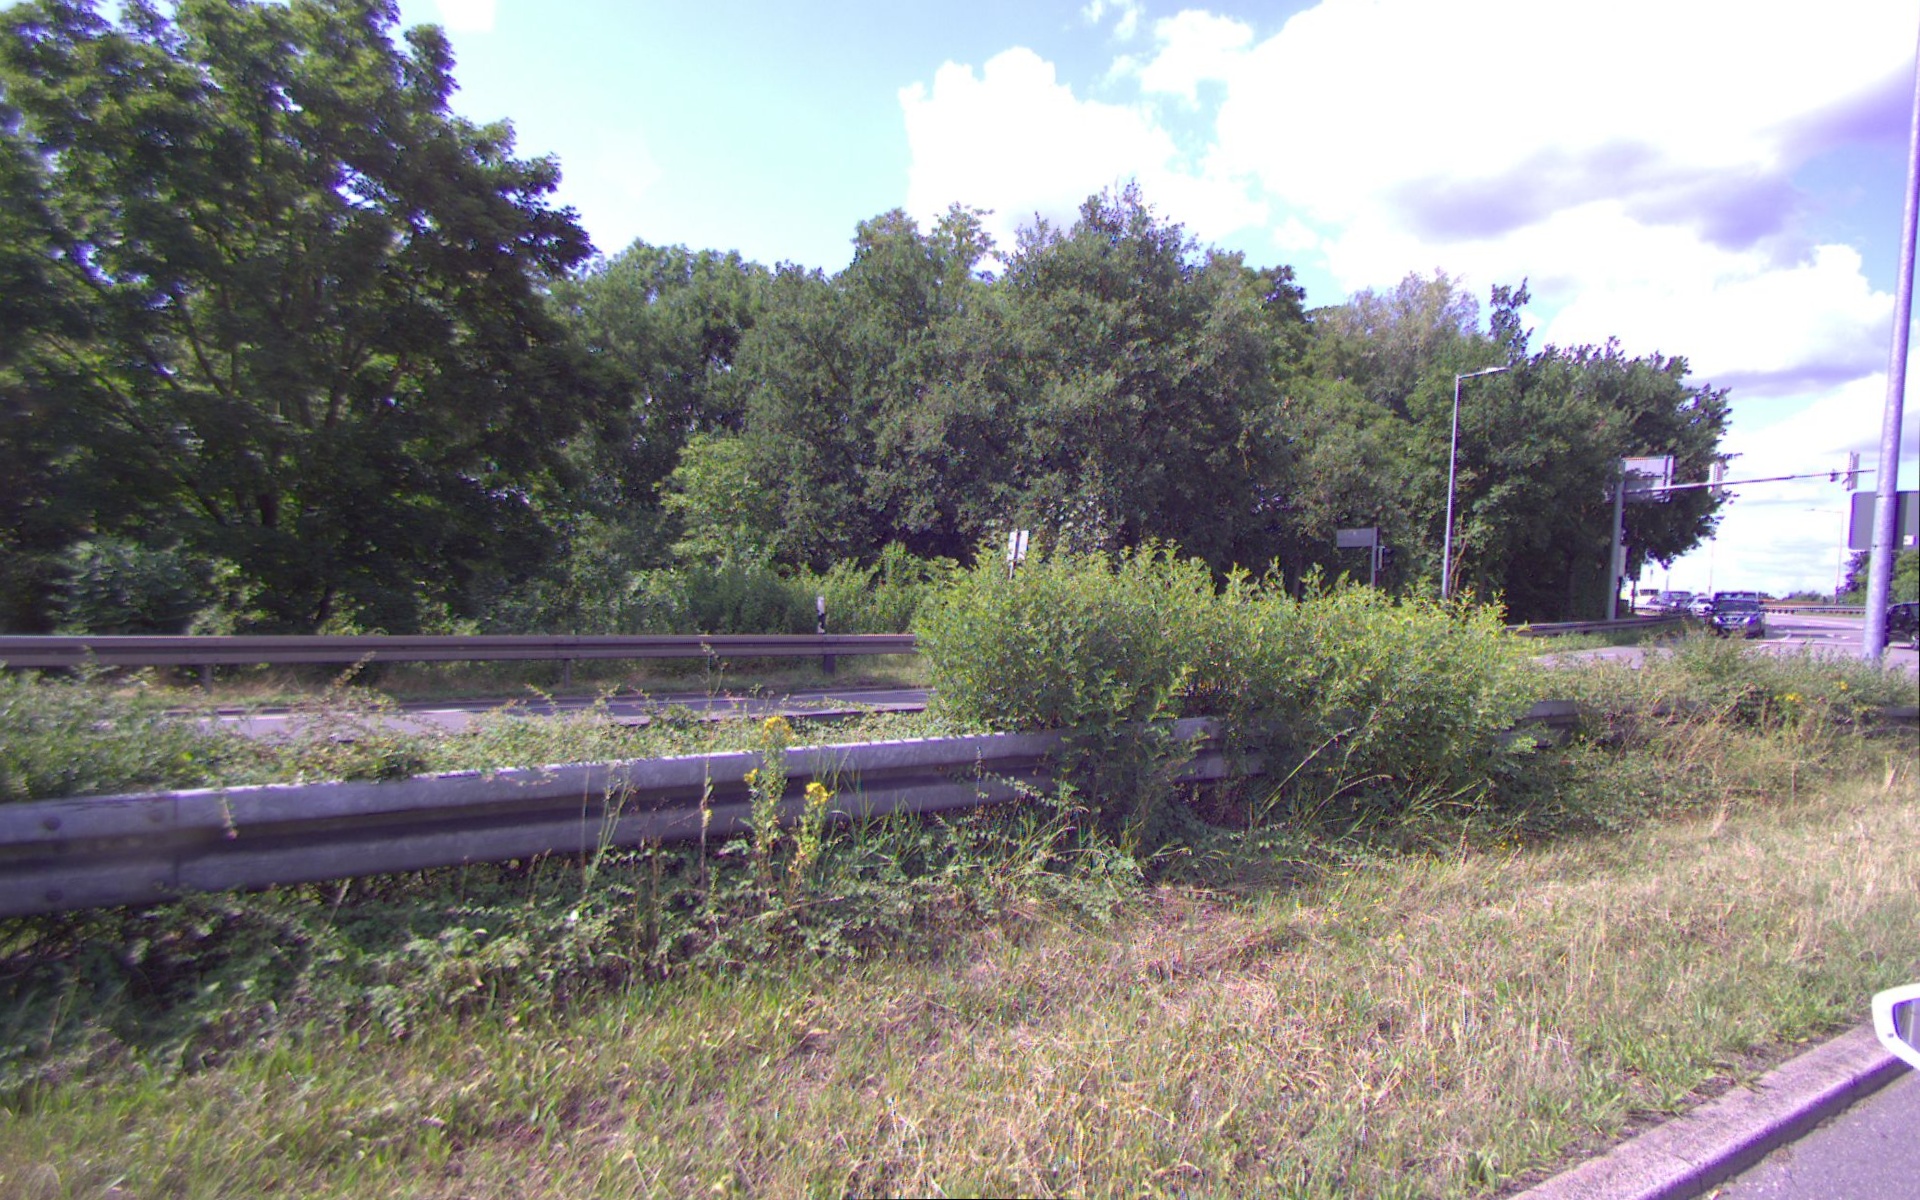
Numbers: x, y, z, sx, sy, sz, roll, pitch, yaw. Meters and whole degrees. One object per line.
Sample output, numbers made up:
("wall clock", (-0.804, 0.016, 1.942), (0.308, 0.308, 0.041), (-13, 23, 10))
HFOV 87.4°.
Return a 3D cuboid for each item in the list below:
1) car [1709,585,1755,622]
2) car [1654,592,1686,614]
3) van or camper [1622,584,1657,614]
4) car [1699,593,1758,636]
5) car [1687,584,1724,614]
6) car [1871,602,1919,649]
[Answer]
("car", (40.803, 0.166, 53.042), (1.820, 1.826, 4.308), (2, 1, 38))
("car", (58.560, 0.237, 82.893), (1.817, 1.728, 4.316), (2, 1, 31))
("van or camper", (65.281, -0.125, 96.591), (1.963, 2.719, 6.853), (2, 1, 28))
("car", (31.610, 0.607, 41.277), (1.816, 1.639, 3.983), (2, 0, 39))
("car", (53.769, -0.068, 72.499), (1.817, 2.005, 4.314), (2, 1, 33))
("car", (31.758, 0.841, 32.928), (1.918, 1.437, 3.963), (2, 1, 29))
